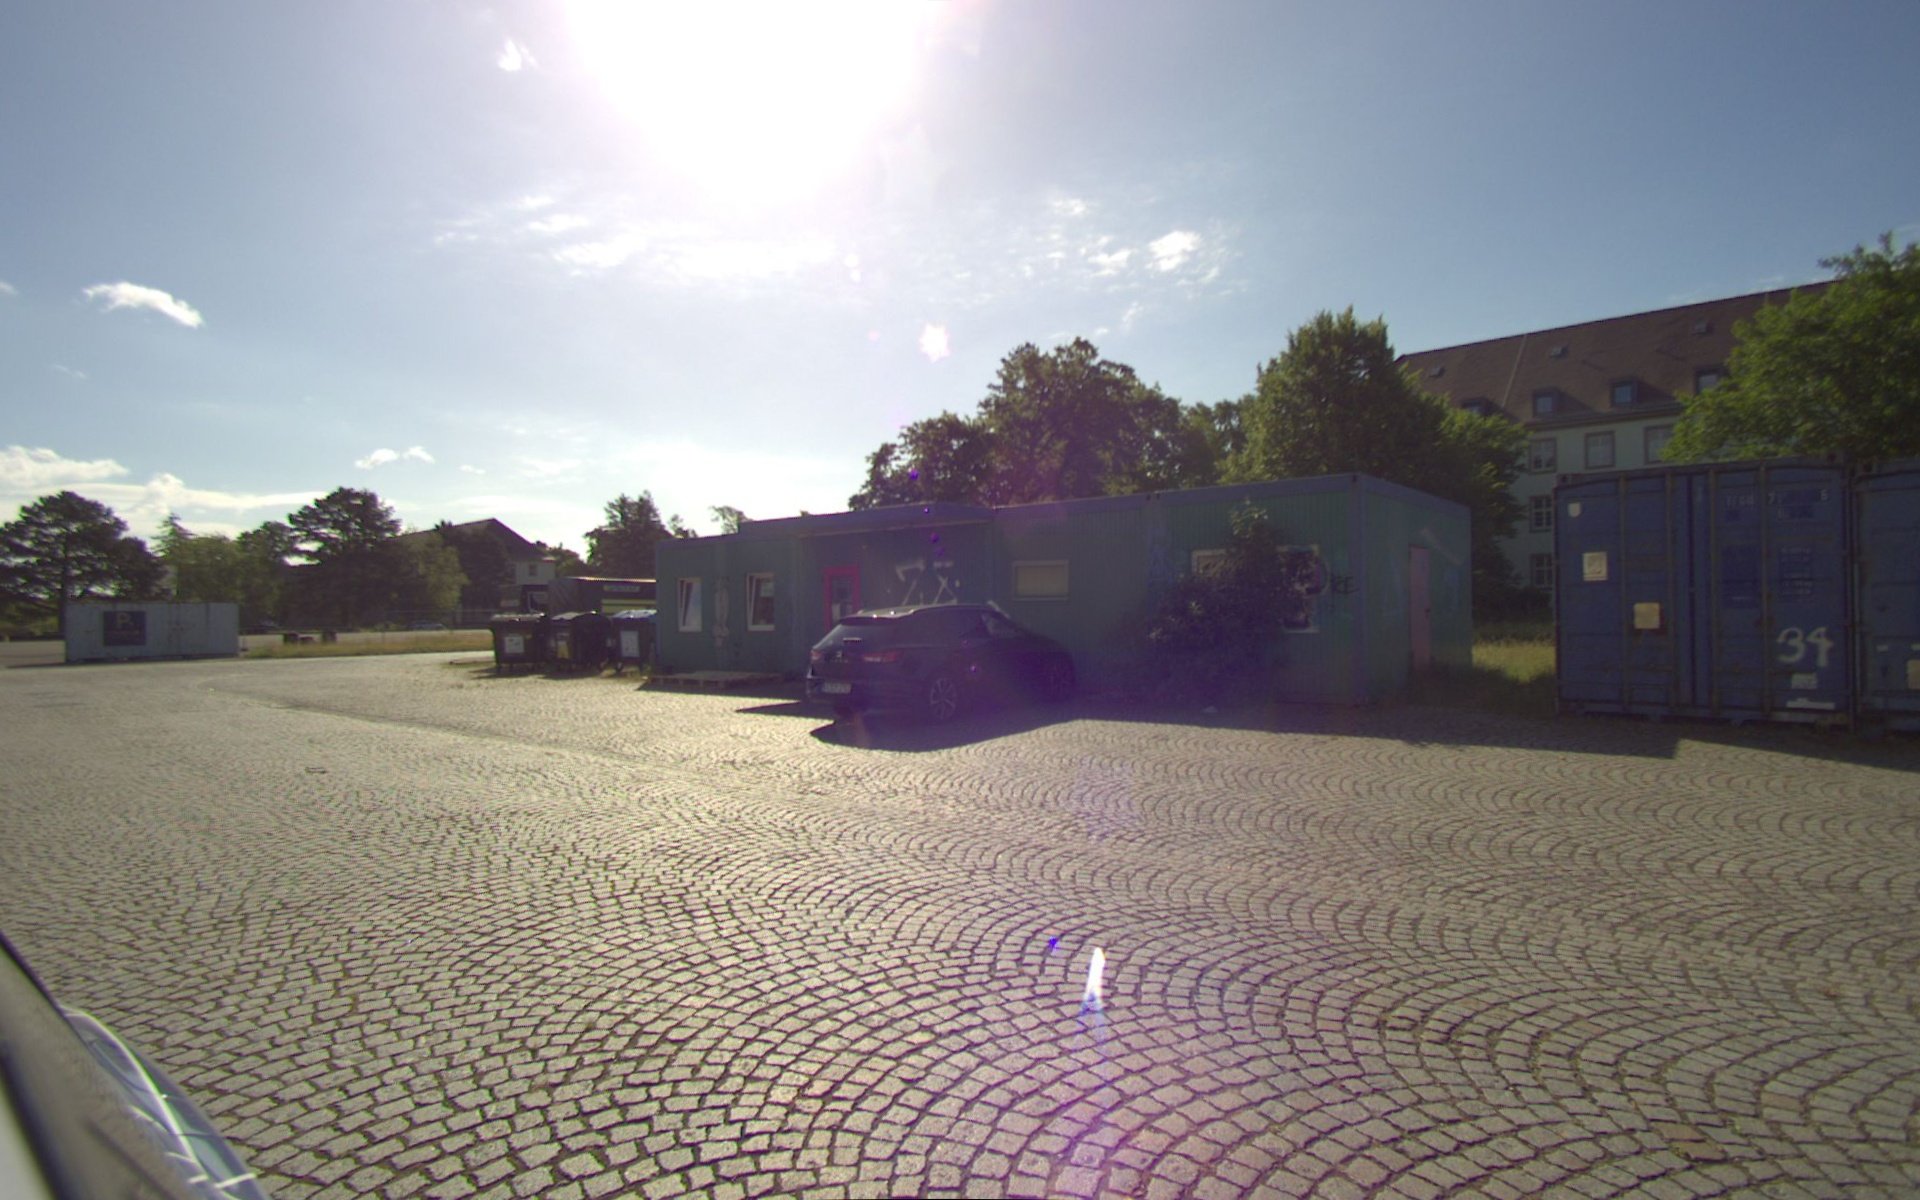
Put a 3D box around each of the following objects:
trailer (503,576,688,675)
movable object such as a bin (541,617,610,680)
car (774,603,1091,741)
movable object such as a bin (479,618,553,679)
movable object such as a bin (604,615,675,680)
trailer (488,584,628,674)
[{"bbox_3d":[-10.239,0.641,28.718,1.949,2.587,4.592,-1,0,38],"label":"trailer"},{"bbox_3d":[-9.397,1.155,24.733,1.440,1.469,1.007,-1,0,42],"label":"movable object such as a bin"},{"bbox_3d":[-0.217,0.819,13.526,1.930,1.460,4.209,-1,0,40],"label":"car"},{"bbox_3d":[-11.283,1.218,25.786,1.416,1.469,1.157,-1,0,-5],"label":"movable object such as a bin"},{"bbox_3d":[-7.662,1.120,24.160,1.435,1.469,0.875,-1,0,31],"label":"movable object such as a bin"},{"bbox_3d":[-12.031,0.810,30.385,2.044,2.488,3.348,-1,0,43],"label":"trailer"}]
